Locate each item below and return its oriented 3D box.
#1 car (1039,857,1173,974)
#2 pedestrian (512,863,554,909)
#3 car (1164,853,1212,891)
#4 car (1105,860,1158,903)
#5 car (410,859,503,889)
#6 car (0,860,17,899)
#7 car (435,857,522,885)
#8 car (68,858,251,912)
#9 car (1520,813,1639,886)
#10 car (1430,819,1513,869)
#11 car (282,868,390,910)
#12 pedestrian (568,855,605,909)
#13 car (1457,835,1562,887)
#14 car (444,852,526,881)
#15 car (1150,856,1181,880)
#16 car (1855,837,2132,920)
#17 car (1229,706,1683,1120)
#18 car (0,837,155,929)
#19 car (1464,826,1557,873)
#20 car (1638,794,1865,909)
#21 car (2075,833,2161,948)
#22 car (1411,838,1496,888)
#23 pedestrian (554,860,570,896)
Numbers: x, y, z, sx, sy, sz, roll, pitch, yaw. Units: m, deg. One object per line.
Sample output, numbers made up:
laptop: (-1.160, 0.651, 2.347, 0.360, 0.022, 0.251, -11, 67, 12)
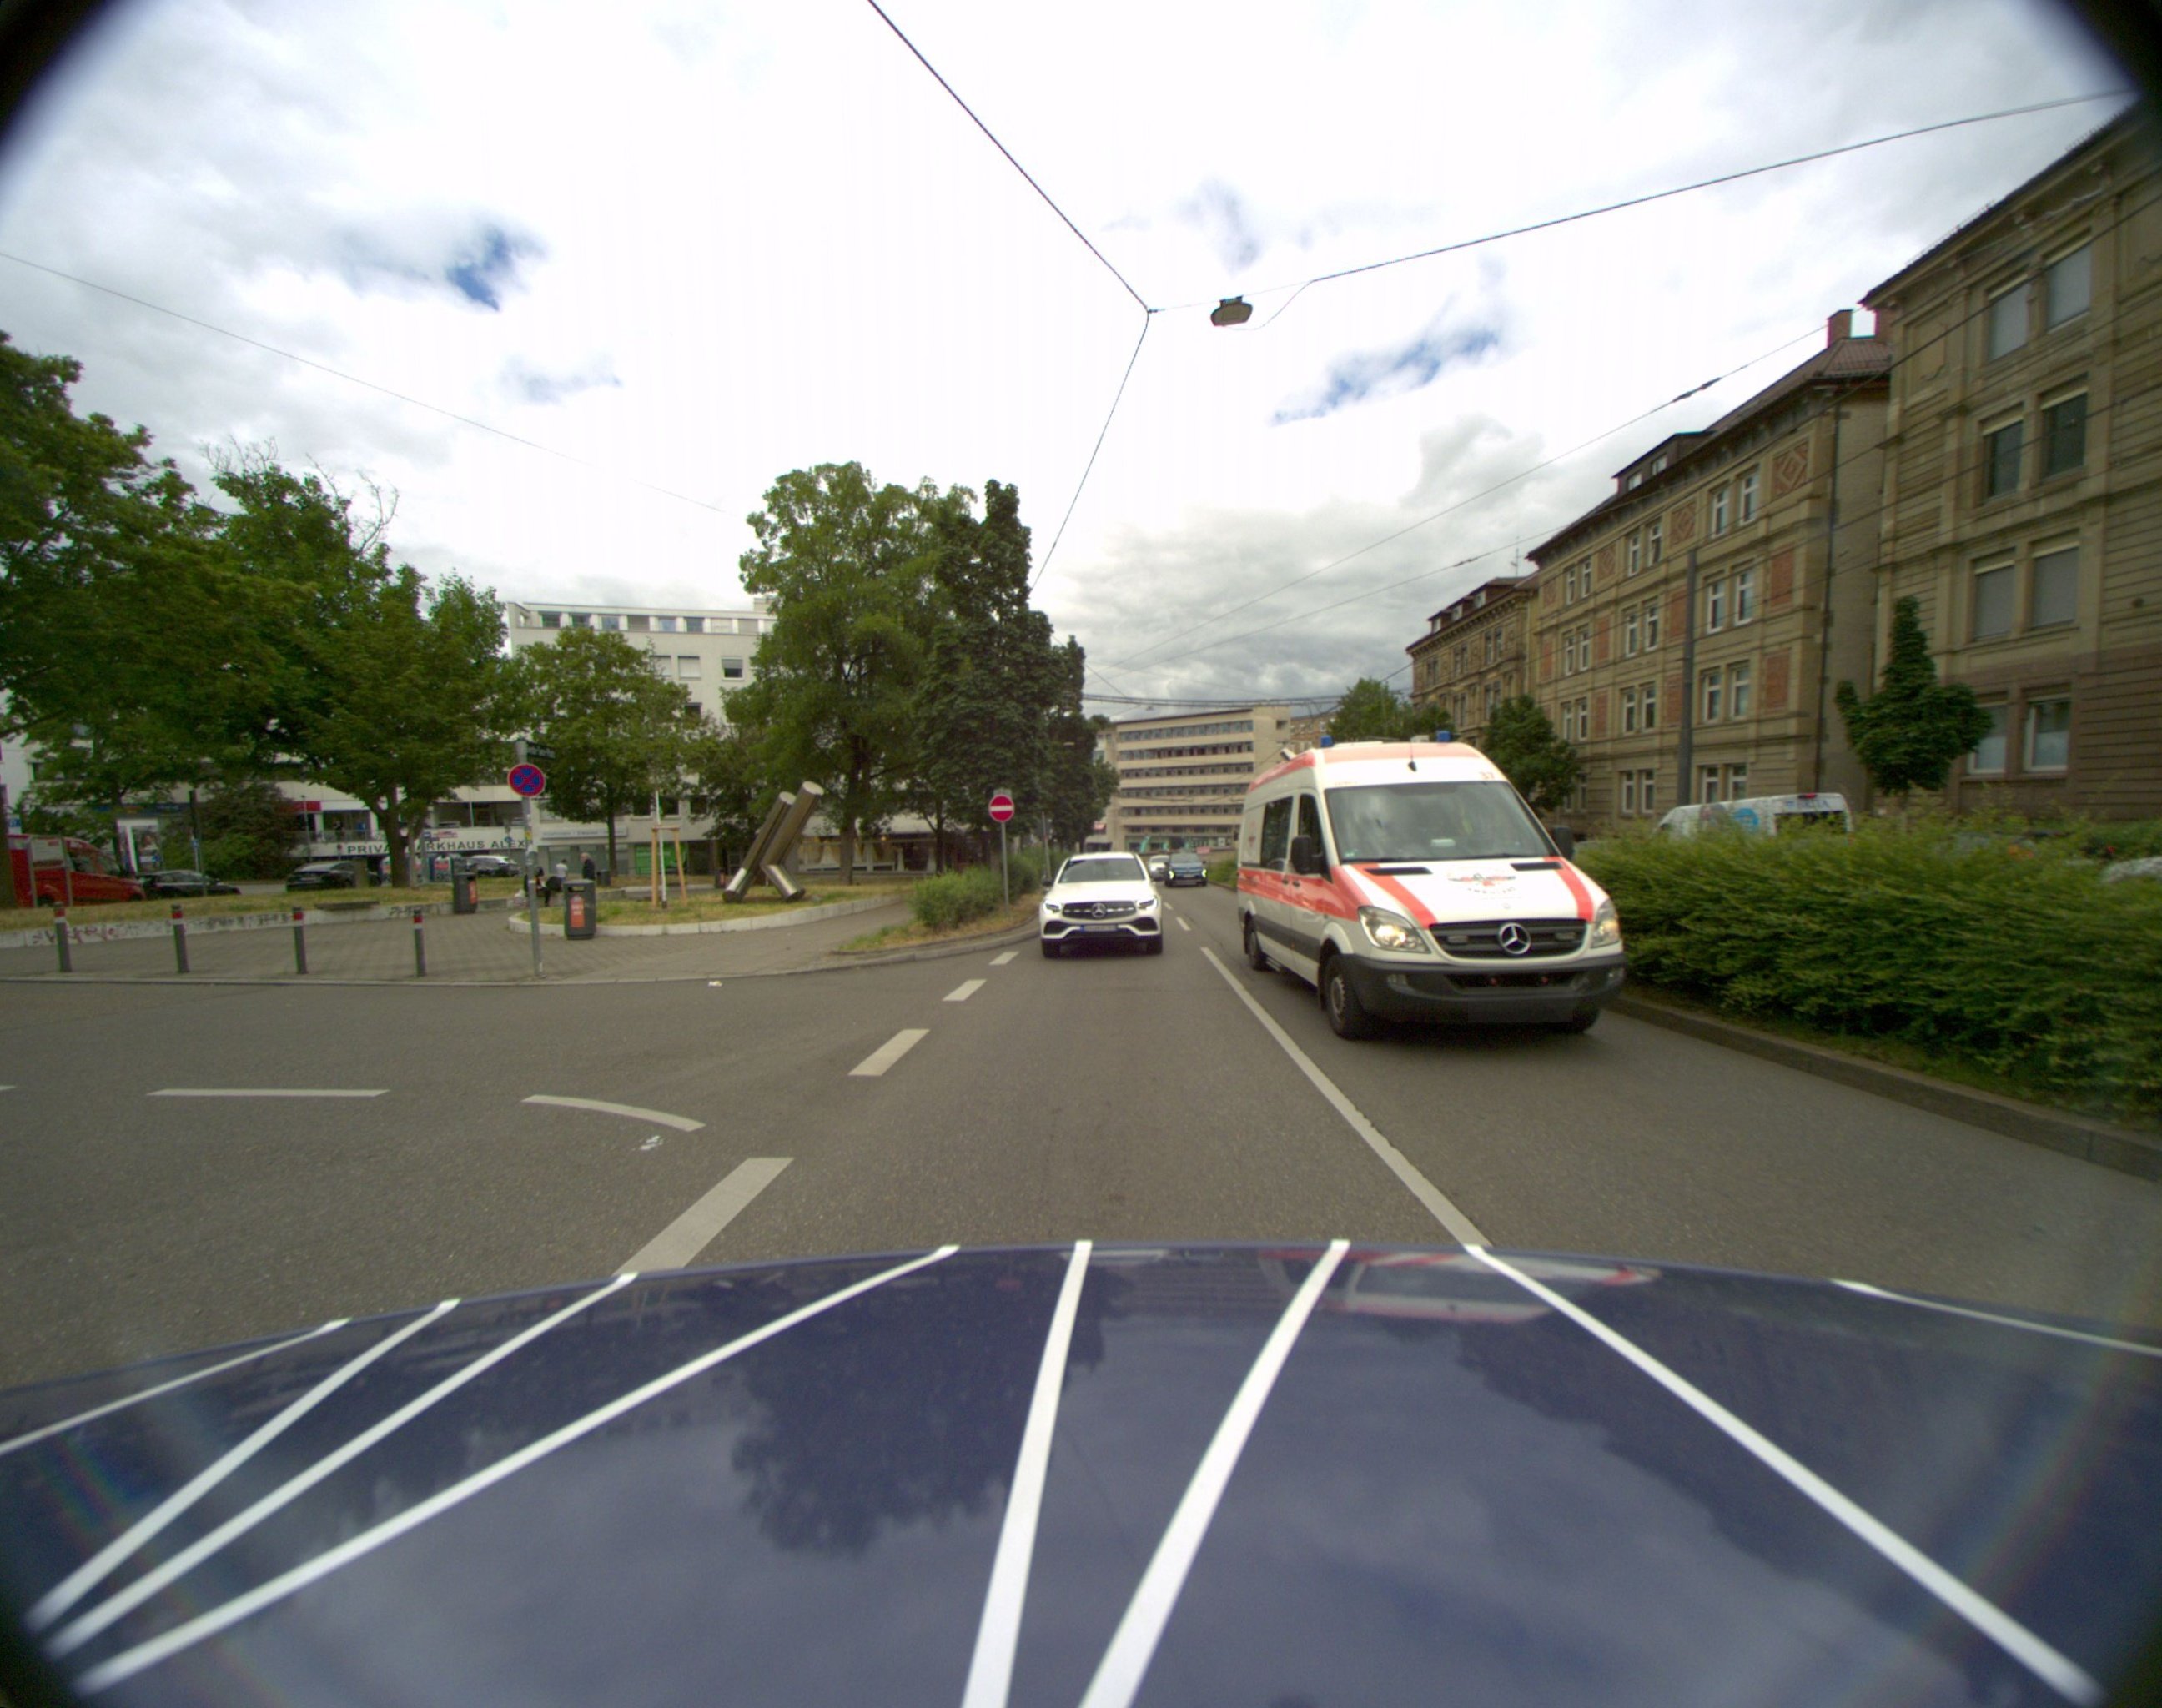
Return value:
car: (0.440, 0.900, 13.227, 1.894, 1.610, 4.479, -2, 0, 2)
pedestrian: (-15.817, 0.923, 21.929, 0.655, 1.284, 0.686, -1, 1, 12)
car: (4.971, 0.799, 35.854, 1.930, 1.563, 4.182, -3, 0, 5)
car: (1.911, 0.990, 28.510, 1.821, 1.441, 3.854, -1, 0, 4)
car: (-38.651, 1.231, 47.127, 3.999, 1.707, 1.999, -1, 1, -7)
car: (-56.516, 1.326, 37.312, 4.784, 1.933, 2.227, -1, 0, -9)
car: (-39.644, 1.122, 50.054, 3.999, 1.707, 1.999, -1, 1, -7)
car: (-29.902, 0.936, 24.894, 2.002, 1.556, 4.407, -1, 0, -24)
car: (18.140, -0.161, 27.887, 1.998, 2.461, 4.001, -1, 0, 5)
car: (18.884, -0.478, 36.948, 2.241, 2.274, 4.001, -1, 0, 5)
car: (-34.729, 1.575, 35.589, 2.002, 1.730, 4.775, -1, 0, -24)
pedestrian: (-14.749, 0.819, 22.696, 0.727, 1.593, 0.791, -1, 1, -20)
car: (15.648, 0.244, 27.997, 1.840, 1.739, 4.001, -1, 0, 5)
car: (-40.799, 0.846, 52.068, 4.000, 1.677, 1.688, -4, 1, -9)
car: (5.786, 0.913, 51.988, 1.997, 1.543, 4.319, -1, 0, 6)
car: (18.084, 0.443, 15.344, 1.647, 1.445, 3.568, -2, 0, 10)
car: (3.037, 0.405, 7.947, 2.038, 2.684, 5.855, -2, 0, 3)
car: (-27.596, 0.734, 20.034, 2.130, 2.200, 4.883, -1, 0, -26)
car: (18.685, -0.197, 33.284, 2.320, 1.928, 3.437, -1, 0, 5)
car: (18.334, -0.069, 21.175, 2.214, 2.806, 4.784, -1, 0, 2)
car: (15.524, 0.478, 9.182, 1.708, 1.558, 3.998, -1, 0, -4)
car: (16.216, 0.351, 33.307, 1.998, 2.032, 4.001, -1, 0, 5)
pedestrian: (-23.010, 1.054, 33.662, 0.529, 1.524, 0.672, -2, 1, -37)
